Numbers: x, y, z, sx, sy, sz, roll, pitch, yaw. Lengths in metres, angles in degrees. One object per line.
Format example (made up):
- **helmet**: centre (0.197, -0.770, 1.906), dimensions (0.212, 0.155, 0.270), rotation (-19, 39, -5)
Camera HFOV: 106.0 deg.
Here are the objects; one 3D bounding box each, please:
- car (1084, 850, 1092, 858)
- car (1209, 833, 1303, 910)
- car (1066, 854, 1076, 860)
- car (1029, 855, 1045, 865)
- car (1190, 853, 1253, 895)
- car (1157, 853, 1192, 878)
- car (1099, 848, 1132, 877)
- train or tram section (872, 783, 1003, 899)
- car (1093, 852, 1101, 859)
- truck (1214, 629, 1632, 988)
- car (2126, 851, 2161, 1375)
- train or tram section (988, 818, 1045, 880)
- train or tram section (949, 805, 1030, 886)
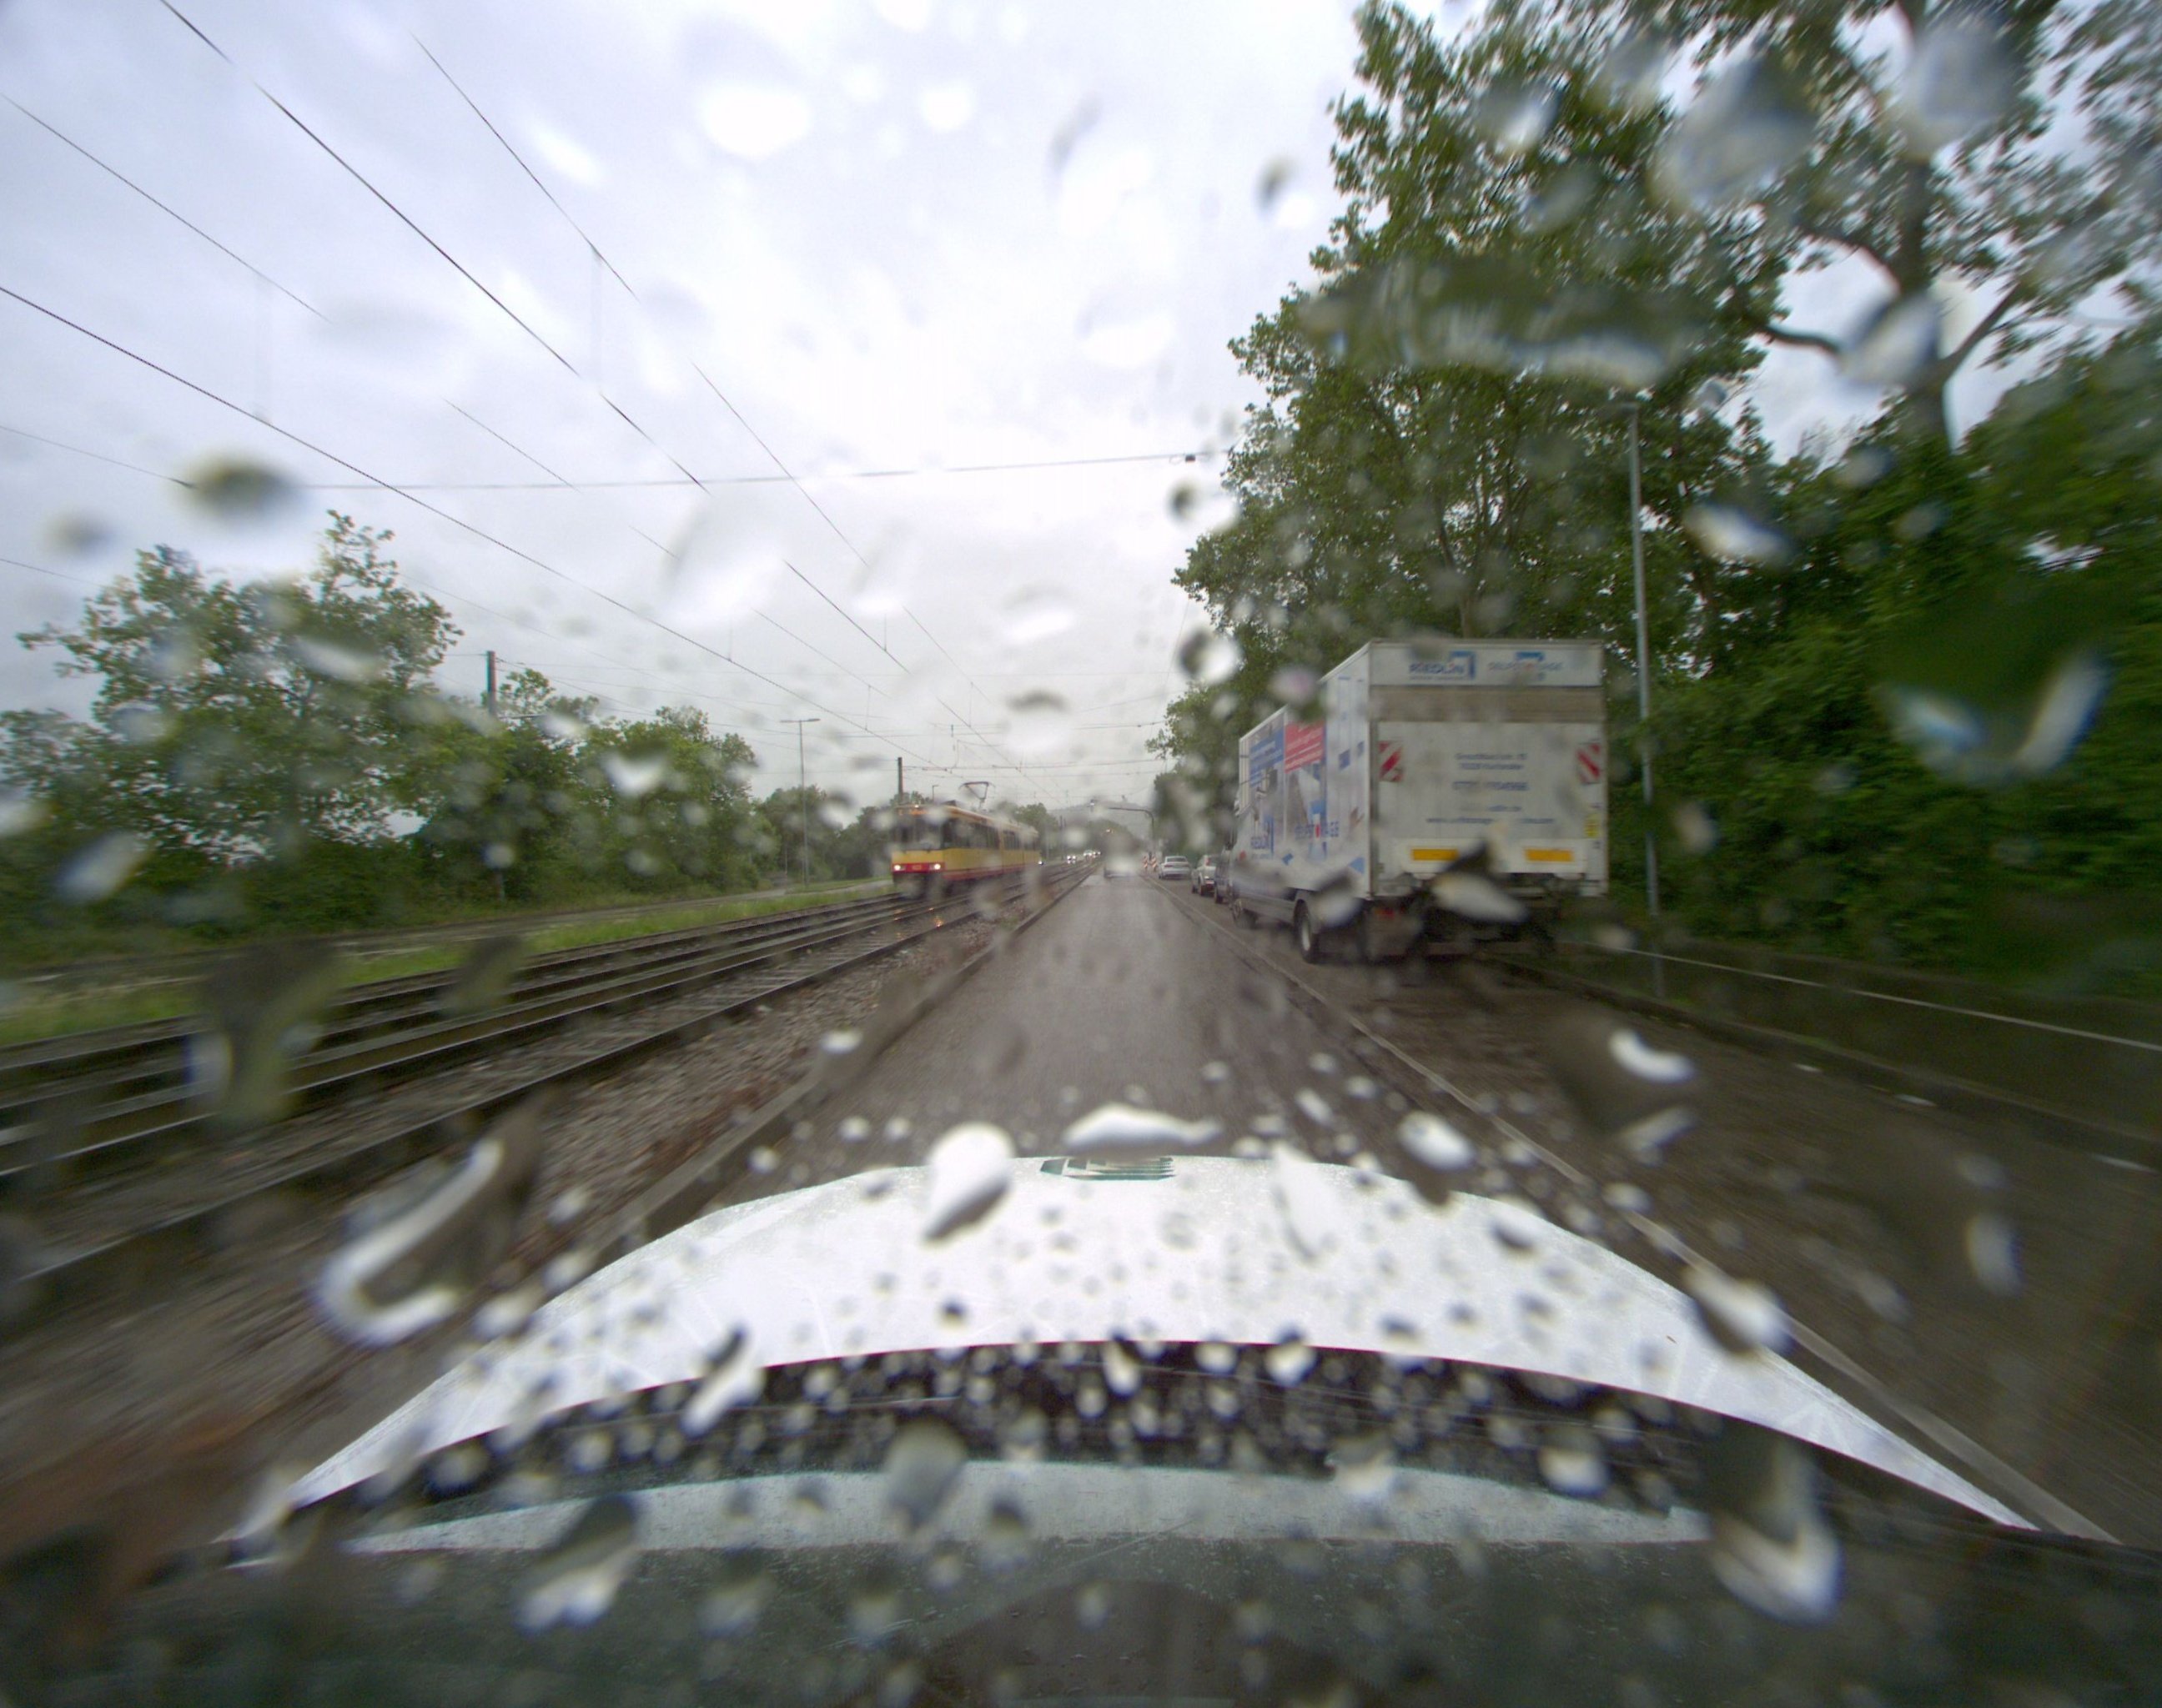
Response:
- **car**: centre (1.888, -0.036, 217.615), dimensions (1.985, 2.014, 4.003), rotation (-1, -1, 3)
- **car**: centre (4.960, 0.455, 23.738), dimensions (1.869, 2.013, 4.983), rotation (0, 0, 2)
- **car**: centre (-2.193, 0.688, 181.490), dimensions (1.812, 1.398, 4.002), rotation (-2, 0, 2)
- **car**: centre (-6.612, 0.911, 122.998), dimensions (1.986, 1.404, 5.388), rotation (-2, 0, 2)
- **car**: centre (5.180, 0.704, 30.509), dimensions (1.805, 1.459, 4.348), rotation (0, -1, 2)
- **car**: centre (5.685, 0.678, 49.759), dimensions (1.812, 1.486, 4.483), rotation (0, 0, 2)
- **car**: centre (2.316, 0.584, 55.556), dimensions (1.988, 1.849, 3.998), rotation (-1, 0, -1)
- **train or tram section**: centre (-5.853, -0.470, 36.116), dimensions (2.795, 4.149, 13.028), rotation (-1, 0, 3)
- **car**: centre (4.802, 0.565, 243.016), dimensions (1.985, 1.948, 4.003), rotation (-1, -1, 3)
- **truck**: centre (4.365, -0.423, 13.430), dimensions (2.766, 3.704, 9.851), rotation (-1, -1, 0)
- **car**: centre (3.963, 0.736, 0.433), dimensions (1.707, 1.529, 4.000), rotation (-1, 0, 1)
- **train or tram section**: centre (-4.634, -0.272, 60.804), dimensions (2.799, 4.150, 10.276), rotation (-1, -1, 3)
- **train or tram section**: centre (-5.223, -0.397, 49.155), dimensions (2.795, 4.150, 13.027), rotation (-1, 0, 2)
